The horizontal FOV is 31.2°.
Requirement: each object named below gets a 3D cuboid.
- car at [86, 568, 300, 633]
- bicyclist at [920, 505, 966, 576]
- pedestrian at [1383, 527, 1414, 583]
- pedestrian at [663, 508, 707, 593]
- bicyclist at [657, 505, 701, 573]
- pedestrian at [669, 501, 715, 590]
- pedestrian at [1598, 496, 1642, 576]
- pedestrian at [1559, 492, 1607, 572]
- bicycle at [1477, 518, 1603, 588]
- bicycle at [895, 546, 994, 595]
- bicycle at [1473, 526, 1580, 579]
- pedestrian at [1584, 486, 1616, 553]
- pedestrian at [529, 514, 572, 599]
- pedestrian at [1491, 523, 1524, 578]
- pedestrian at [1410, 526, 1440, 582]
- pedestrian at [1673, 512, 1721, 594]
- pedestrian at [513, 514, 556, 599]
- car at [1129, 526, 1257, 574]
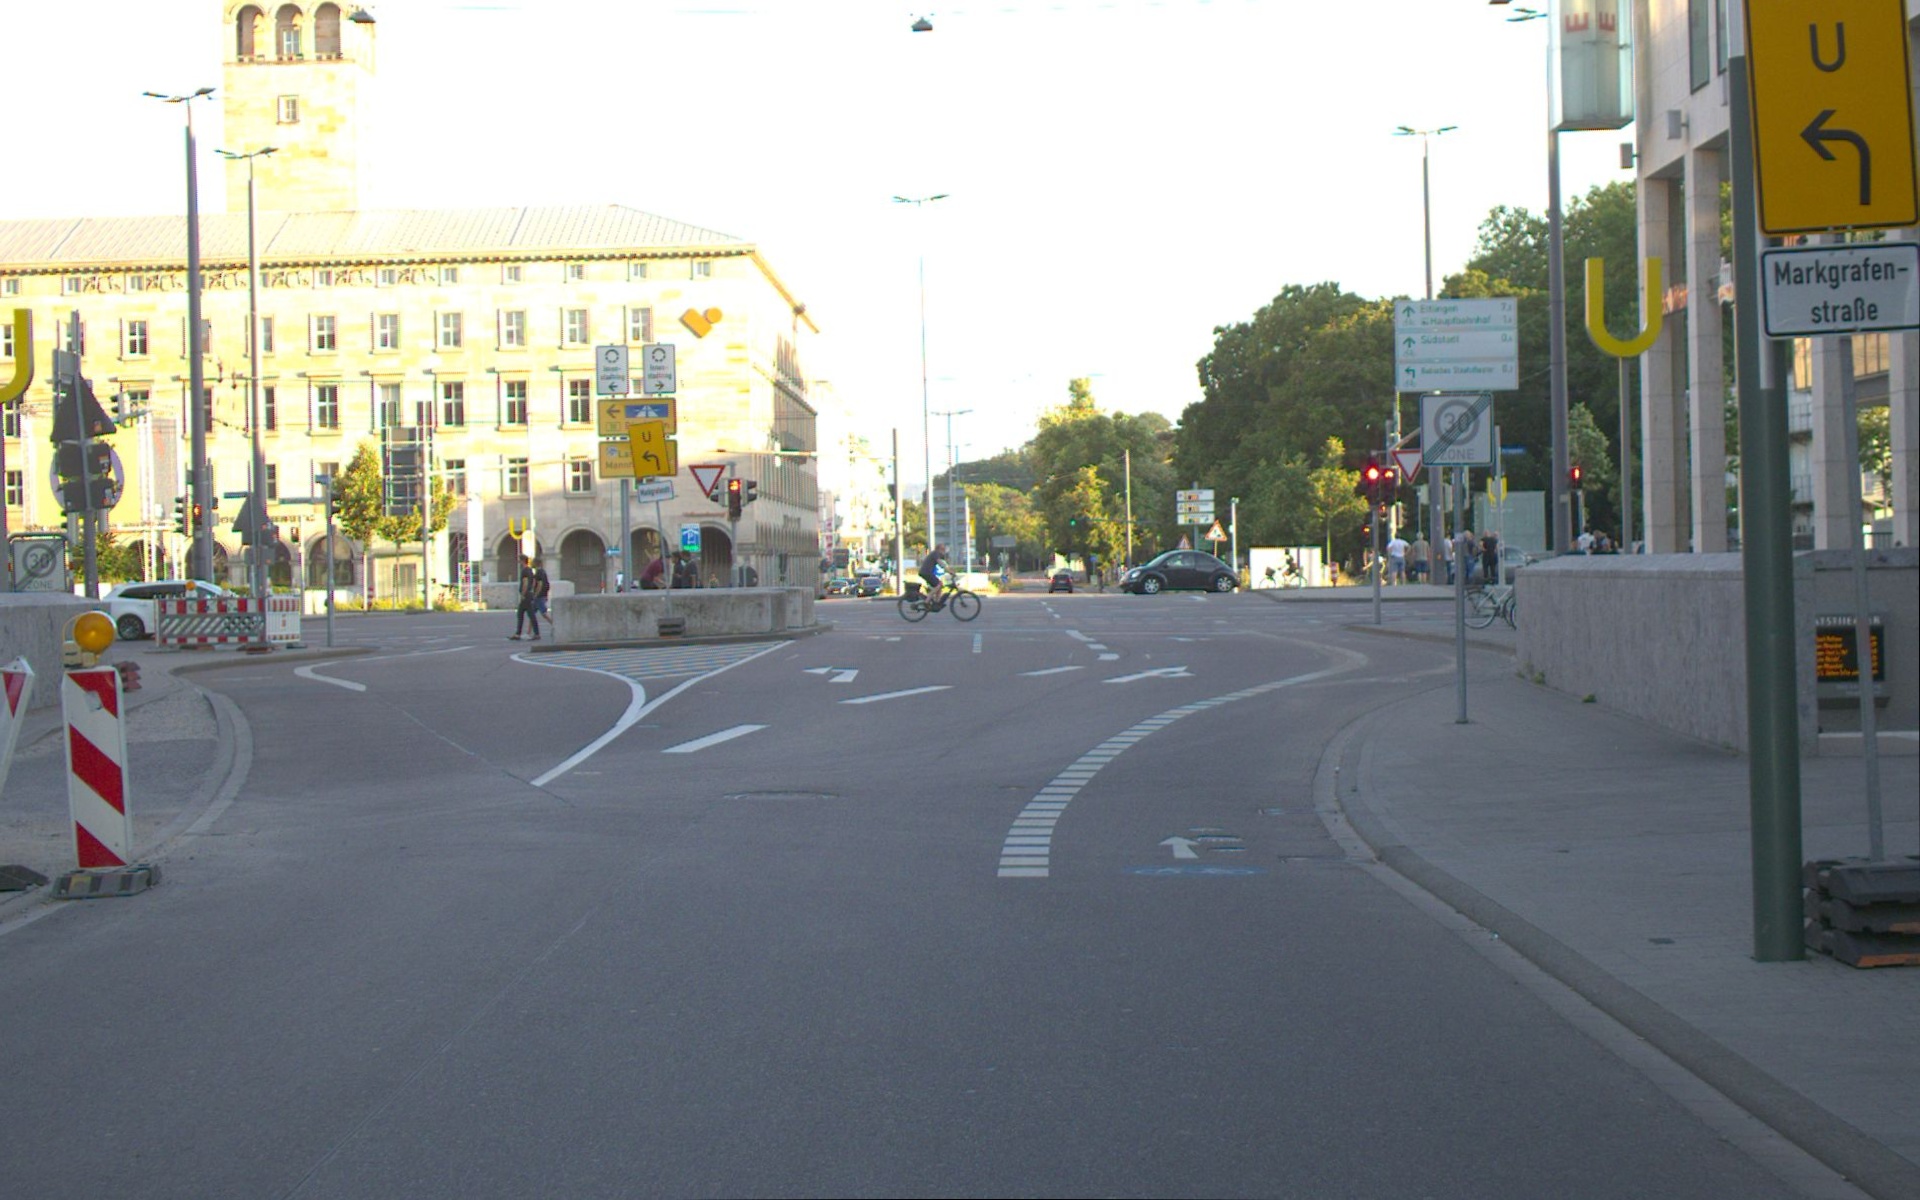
[{"bbox_3d":[-19.040,0.011,85.492,4.796,1.491,2.128,-1,0,0],"label":"car"},{"bbox_3d":[-0.387,-1.367,79.178,1.019,1.616,0.653,-2,0,1],"label":"bicyclist"},{"bbox_3d":[13.827,-1.414,108.409,0.808,1.724,0.688,-1,0,-1],"label":"pedestrian"},{"bbox_3d":[-5.740,-1.028,71.649,0.738,1.771,0.863,0,0,-16],"label":"pedestrian"},{"bbox_3d":[-6.451,-1.406,78.944,0.879,1.525,0.653,-2,0,2],"label":"bicyclist"},{"bbox_3d":[-5.510,-1.114,70.625,0.738,1.771,0.863,-3,0,-12],"label":"pedestrian"},{"bbox_3d":[15.110,-1.452,78.737,0.756,1.771,0.741,-4,0,1],"label":"pedestrian"},{"bbox_3d":[14.259,-1.549,78.752,0.860,1.771,0.741,-4,0,1],"label":"pedestrian"},{"bbox_3d":[9.191,-0.744,54.500,1.898,1.044,0.570,-1,0,5],"label":"bicycle"},{"bbox_3d":[-0.358,-0.679,79.174,2.242,1.058,0.653,-2,0,1],"label":"bicycle"},{"bbox_3d":[10.529,-0.876,63.908,1.867,0.933,0.516,-1,0,-1],"label":"bicycle"},{"bbox_3d":[16.780,-2.112,90.113,0.692,1.724,0.741,-1,0,2],"label":"pedestrian"},{"bbox_3d":[-8.896,-0.942,74.746,0.738,1.771,0.863,-4,0,-2],"label":"pedestrian"},{"bbox_3d":[17.467,-1.571,109.704,0.685,1.724,0.811,-1,0,-26],"label":"pedestrian"},{"bbox_3d":[14.653,-1.456,108.413,0.808,1.724,0.688,-1,0,-1],"label":"pedestrian"},{"bbox_3d":[16.680,-1.054,77.816,0.893,1.834,0.688,-1,0,-1],"label":"pedestrian"},{"bbox_3d":[-9.152,-0.927,73.977,0.738,1.771,0.863,-4,0,-2],"label":"pedestrian"},{"bbox_3d":[7.826,-1.689,115.640,3.986,1.489,1.829,-2,0,-9],"label":"car"}]
